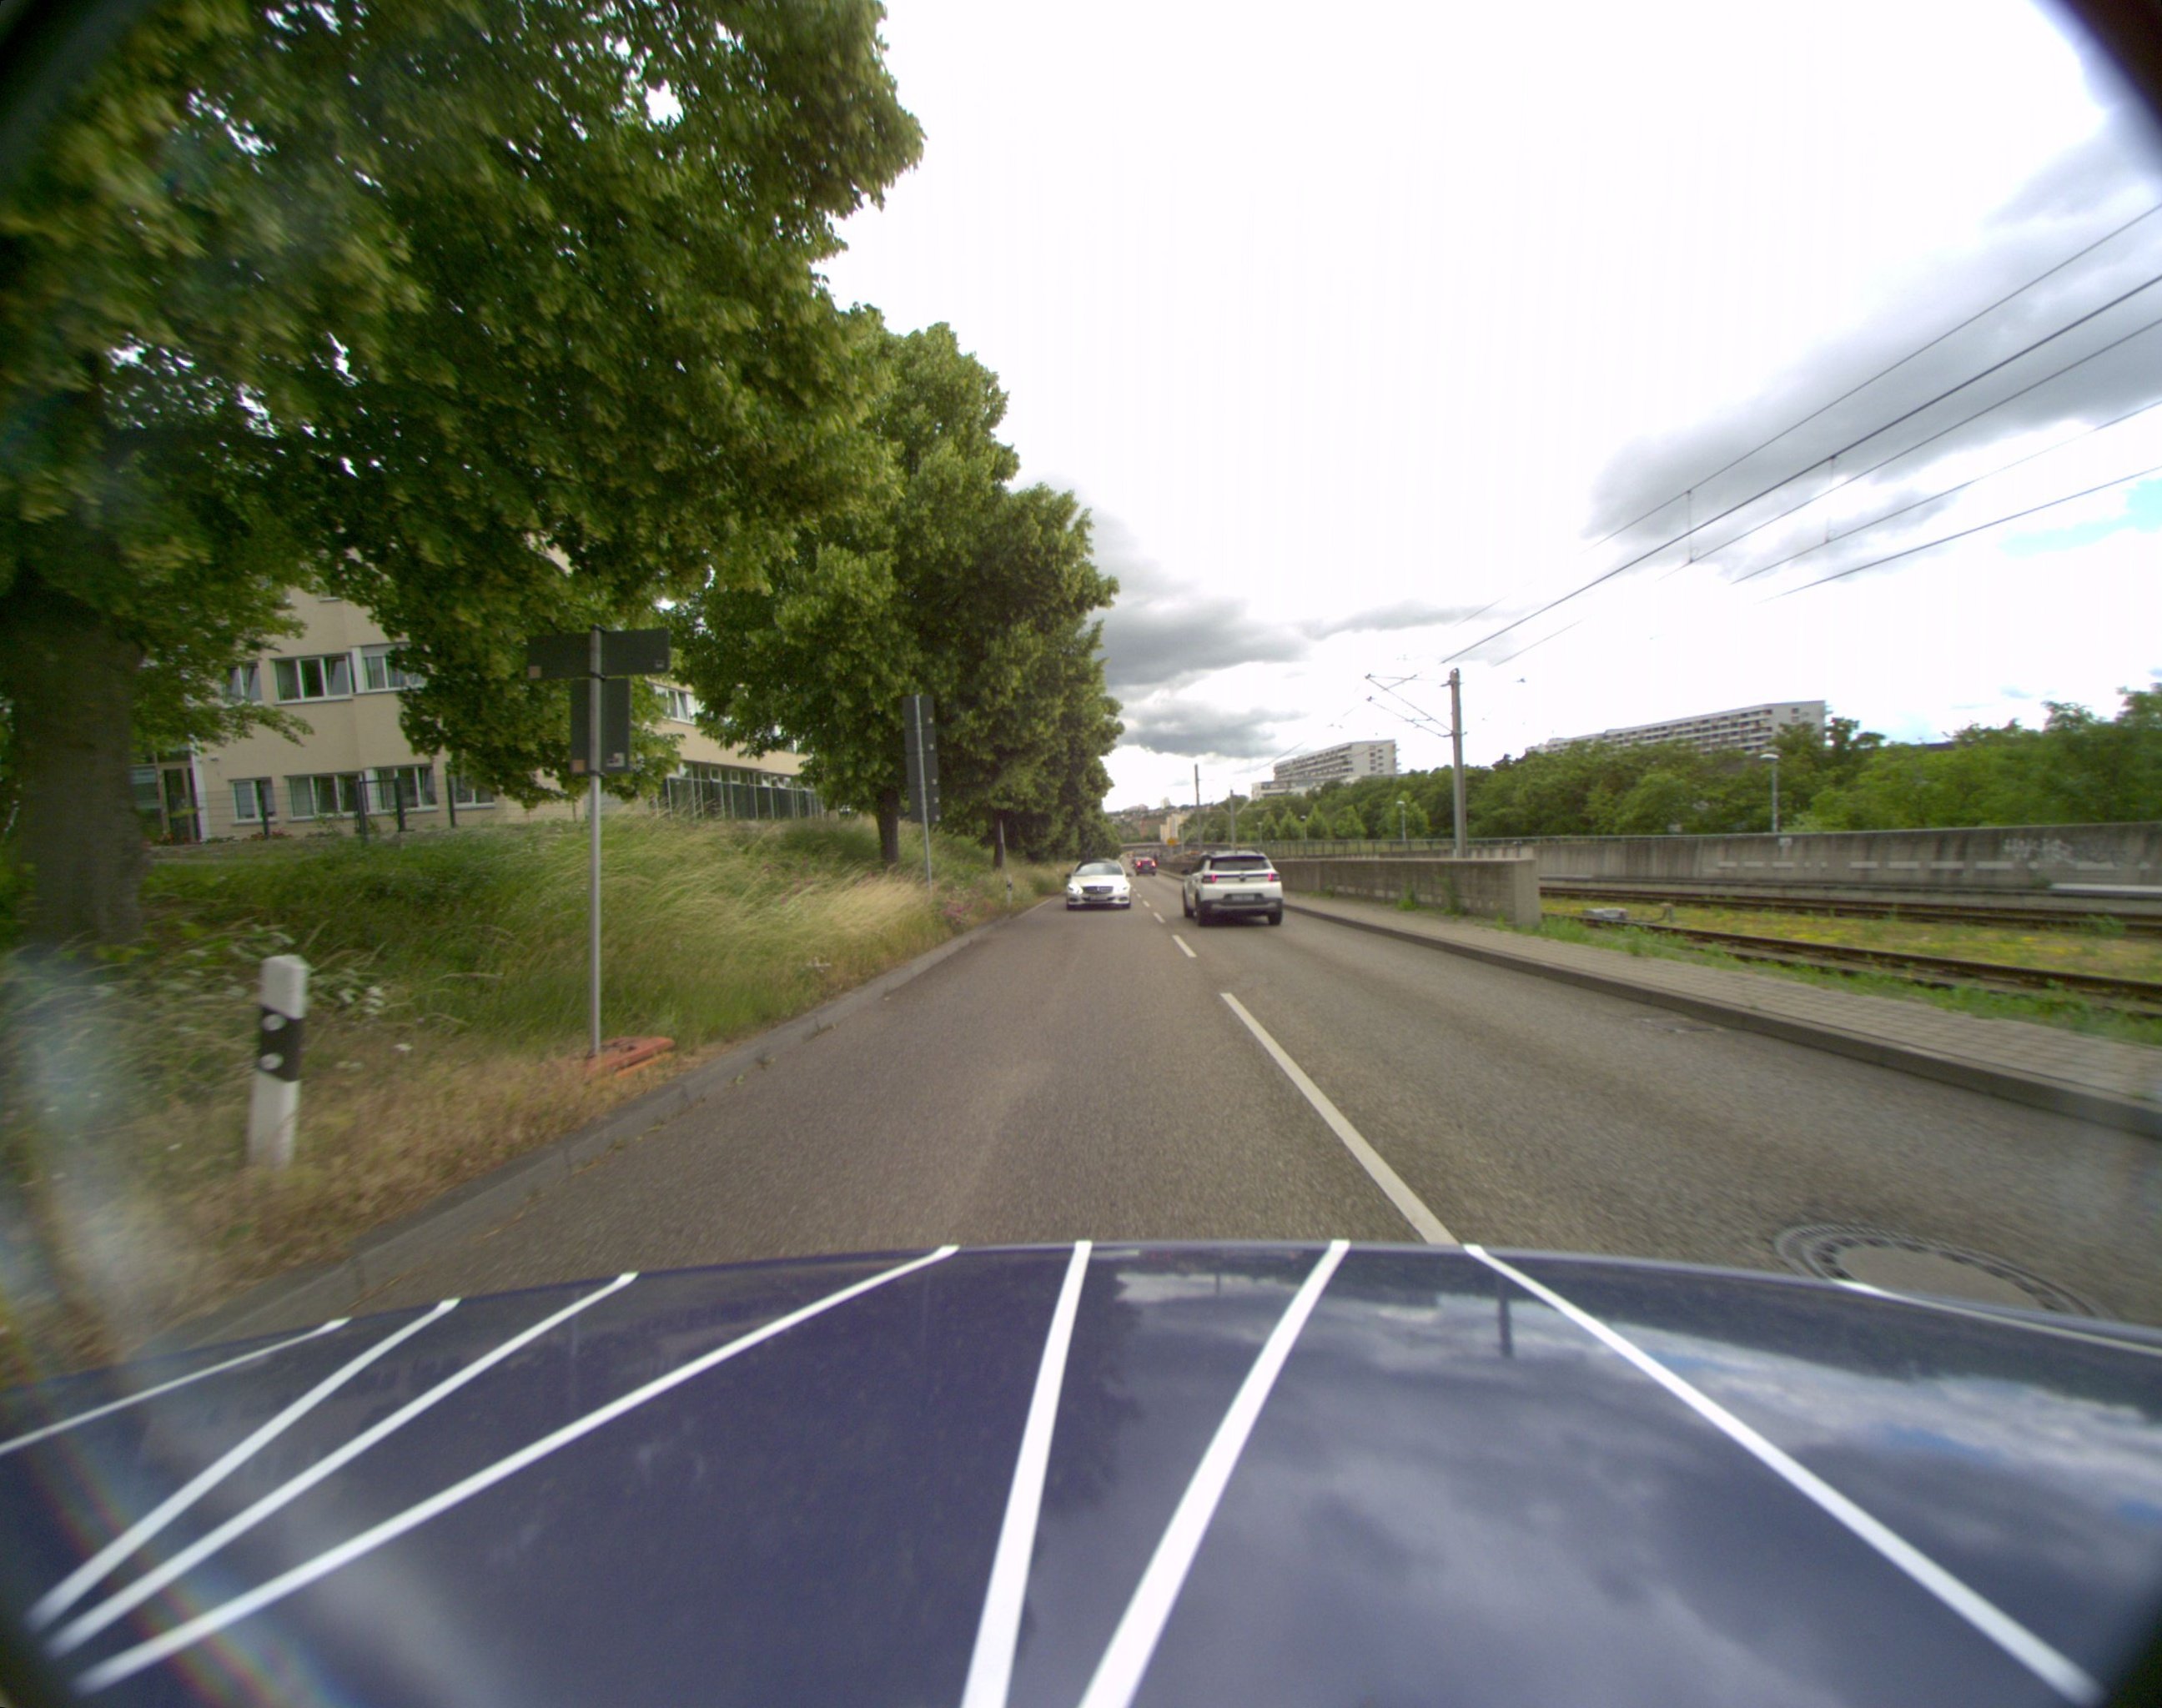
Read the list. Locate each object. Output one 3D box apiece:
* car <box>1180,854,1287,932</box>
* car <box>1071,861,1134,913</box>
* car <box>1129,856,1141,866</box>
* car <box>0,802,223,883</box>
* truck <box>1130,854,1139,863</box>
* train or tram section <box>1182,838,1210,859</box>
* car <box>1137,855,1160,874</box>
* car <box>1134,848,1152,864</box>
[{"bbox_3d":[3.303,0.784,17.132,1.720,1.512,3.744,-2,0,2],"label":"car"},{"bbox_3d":[0.743,0.952,23.414,1.739,1.366,4.001,-2,0,4],"label":"car"},{"bbox_3d":[8.734,1.152,123.476,1.781,1.677,4.066,-1,-1,3],"label":"car"},{"bbox_3d":[-20.821,-0.236,16.288,3.365,1.501,1.578,-3,1,8],"label":"car"},{"bbox_3d":[15.889,1.284,226.497,2.455,2.412,8.213,-2,0,3],"label":"truck"},{"bbox_3d":[19.067,-0.939,127.462,2.787,3.175,18.477,-2,0,3],"label":"train or tram section"},{"bbox_3d":[6.314,0.963,71.640,1.827,1.647,4.246,-2,0,2],"label":"car"},{"bbox_3d":[7.712,0.202,94.876,1.901,1.823,4.906,4,0,2],"label":"car"}]
